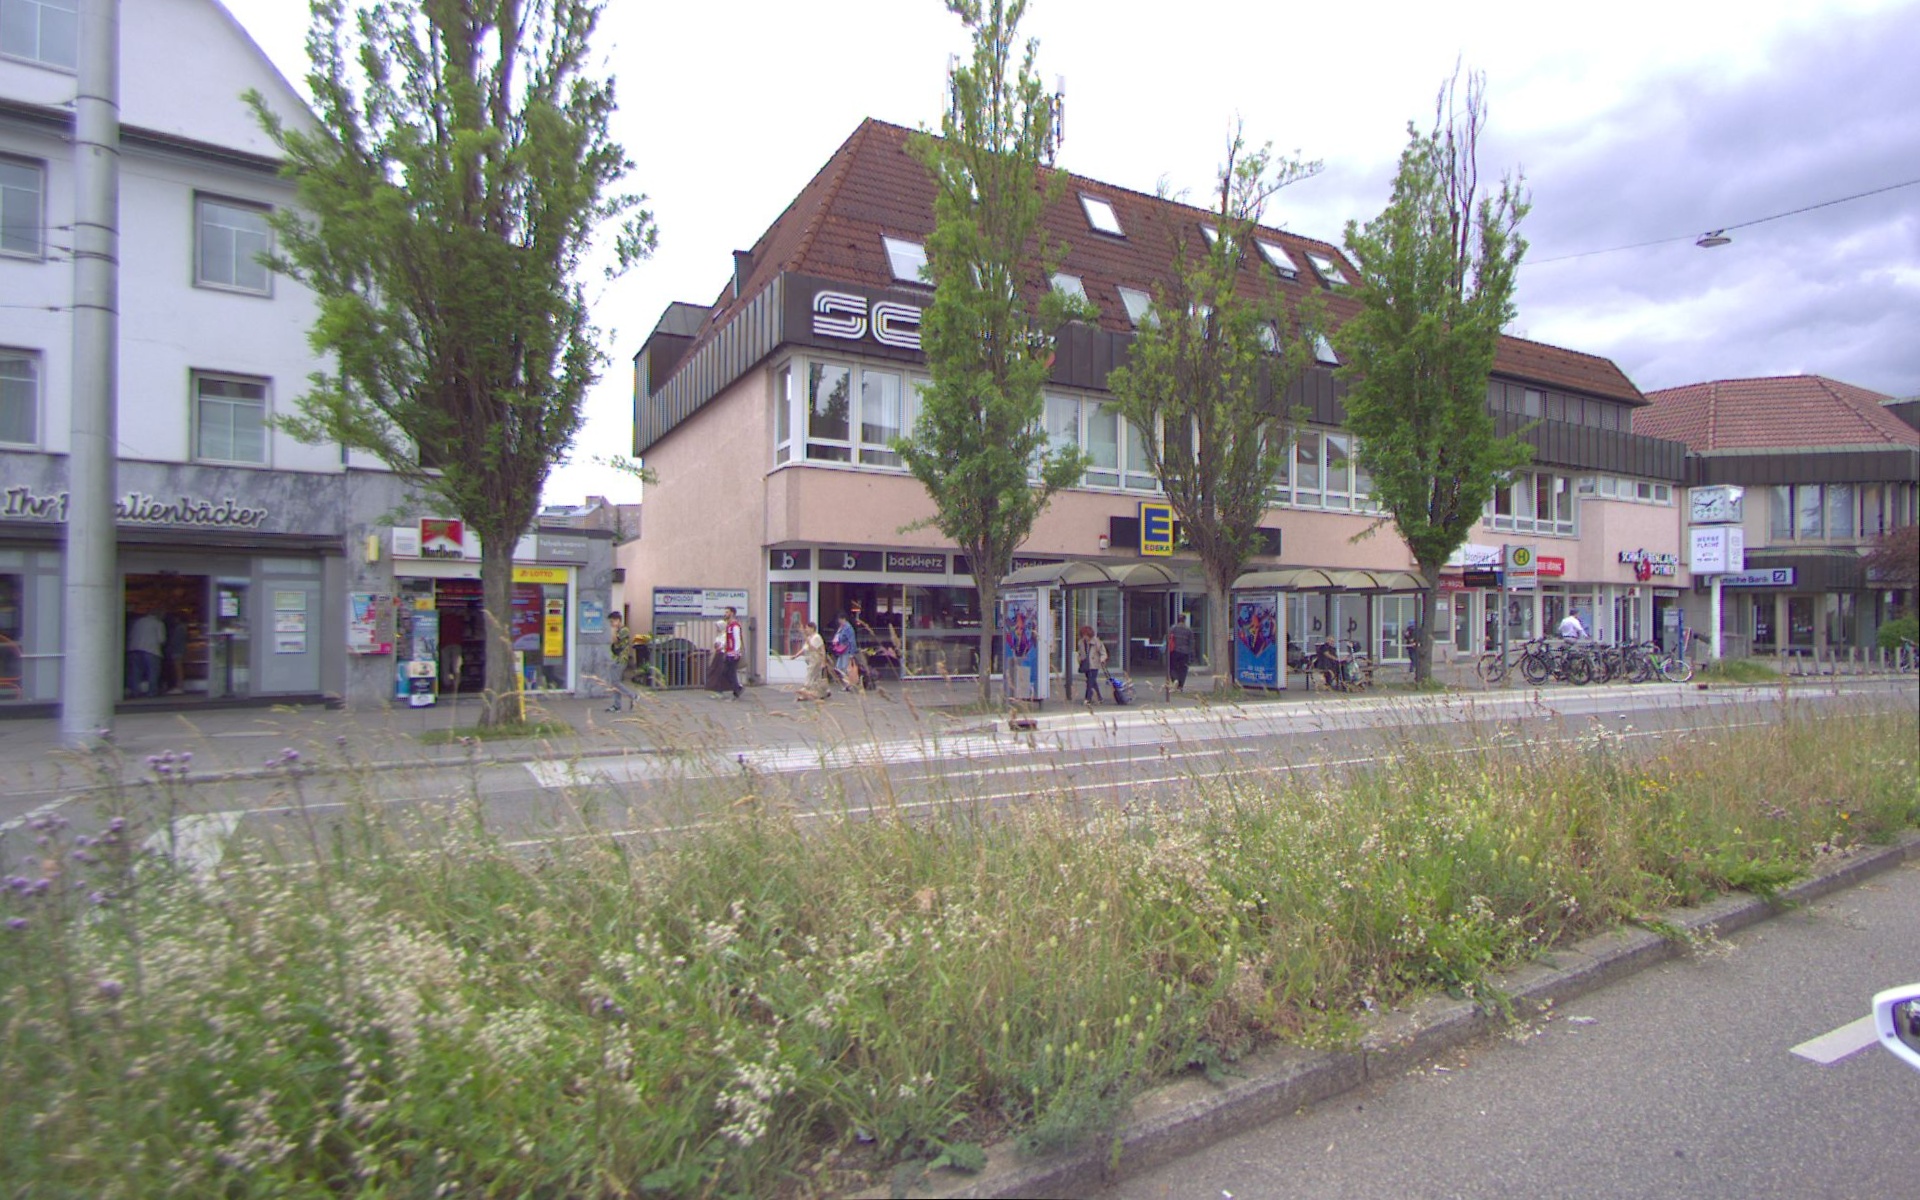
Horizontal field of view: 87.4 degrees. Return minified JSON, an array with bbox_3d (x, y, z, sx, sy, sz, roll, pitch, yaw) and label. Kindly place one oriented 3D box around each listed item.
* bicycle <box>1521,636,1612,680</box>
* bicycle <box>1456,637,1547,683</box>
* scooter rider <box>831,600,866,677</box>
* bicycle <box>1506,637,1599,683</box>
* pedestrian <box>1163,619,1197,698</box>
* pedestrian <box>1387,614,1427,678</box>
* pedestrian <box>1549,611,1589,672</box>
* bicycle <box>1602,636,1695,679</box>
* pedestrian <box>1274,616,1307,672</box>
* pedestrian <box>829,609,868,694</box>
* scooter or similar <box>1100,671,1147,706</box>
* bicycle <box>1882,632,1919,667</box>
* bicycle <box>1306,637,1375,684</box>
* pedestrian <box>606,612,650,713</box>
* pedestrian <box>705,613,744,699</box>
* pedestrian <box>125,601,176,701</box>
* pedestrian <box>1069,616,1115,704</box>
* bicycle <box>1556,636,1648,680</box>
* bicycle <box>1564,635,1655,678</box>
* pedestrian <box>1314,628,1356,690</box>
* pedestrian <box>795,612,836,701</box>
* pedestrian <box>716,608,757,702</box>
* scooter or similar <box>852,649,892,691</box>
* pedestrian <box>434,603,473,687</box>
[{"bbox_3d":[16.131,1.520,26.769,0.643,1.105,2.003,1,-1,-37],"label":"bicycle"},{"bbox_3d":[14.164,1.550,26.309,0.644,1.105,1.999,1,0,-42],"label":"bicycle"},{"bbox_3d":[-2.597,0.879,23.290,0.581,1.735,0.609,0,3,-32],"label":"scooter rider"},{"bbox_3d":[15.332,1.541,26.050,0.642,1.105,2.006,0,-1,-32],"label":"bicycle"},{"bbox_3d":[4.856,1.276,22.159,0.577,1.674,0.713,0,0,28],"label":"pedestrian"},{"bbox_3d":[13.036,1.332,29.291,0.746,1.788,0.722,0,2,-31],"label":"pedestrian"},{"bbox_3d":[18.580,1.251,30.647,0.746,1.788,0.722,0,2,-31],"label":"pedestrian"},{"bbox_3d":[18.843,1.553,27.535,0.643,1.105,2.003,1,-1,-37],"label":"bicycle"},{"bbox_3d":[9.550,1.268,29.021,0.581,1.568,0.708,0,0,-29],"label":"pedestrian"},{"bbox_3d":[-2.343,1.064,21.032,0.608,1.735,0.583,0,2,-30],"label":"pedestrian"},{"bbox_3d":[3.151,1.695,19.375,0.694,0.609,0.589,0,-1,-29],"label":"scooter or similar"},{"bbox_3d":[31.248,1.608,32.499,0.643,1.105,2.003,1,-1,-37],"label":"bicycle"},{"bbox_3d":[9.377,1.468,24.722,1.908,1.105,0.531,1,0,-31],"label":"bicycle"},{"bbox_3d":[-5.714,1.057,17.285,0.608,1.656,0.583,0,2,-30],"label":"pedestrian"},{"bbox_3d":[-4.688,1.105,20.013,0.608,1.656,0.583,0,2,-30],"label":"pedestrian"},{"bbox_3d":[-13.964,0.860,17.333,0.581,1.656,0.610,0,2,-31],"label":"pedestrian"},{"bbox_3d":[2.578,1.153,19.603,0.580,1.674,0.710,0,1,43],"label":"pedestrian"},{"bbox_3d":[17.299,1.556,27.109,0.643,1.105,2.003,1,-1,-37],"label":"bicycle"},{"bbox_3d":[17.816,1.533,27.602,0.643,1.105,2.003,1,-1,-37],"label":"bicycle"},{"bbox_3d":[8.746,1.358,23.434,0.580,1.382,0.709,0,0,-26],"label":"pedestrian"},{"bbox_3d":[-2.814,1.083,19.567,0.608,1.656,0.583,0,2,-30],"label":"pedestrian"},{"bbox_3d":[-4.269,1.034,19.207,0.608,1.735,0.583,0,2,-30],"label":"pedestrian"},{"bbox_3d":[-1.888,1.499,21.545,0.694,0.860,0.589,0,-1,-29],"label":"scooter or similar"},{"bbox_3d":[-10.351,0.910,20.510,0.583,1.656,0.607,-1,3,-41],"label":"pedestrian"}]
